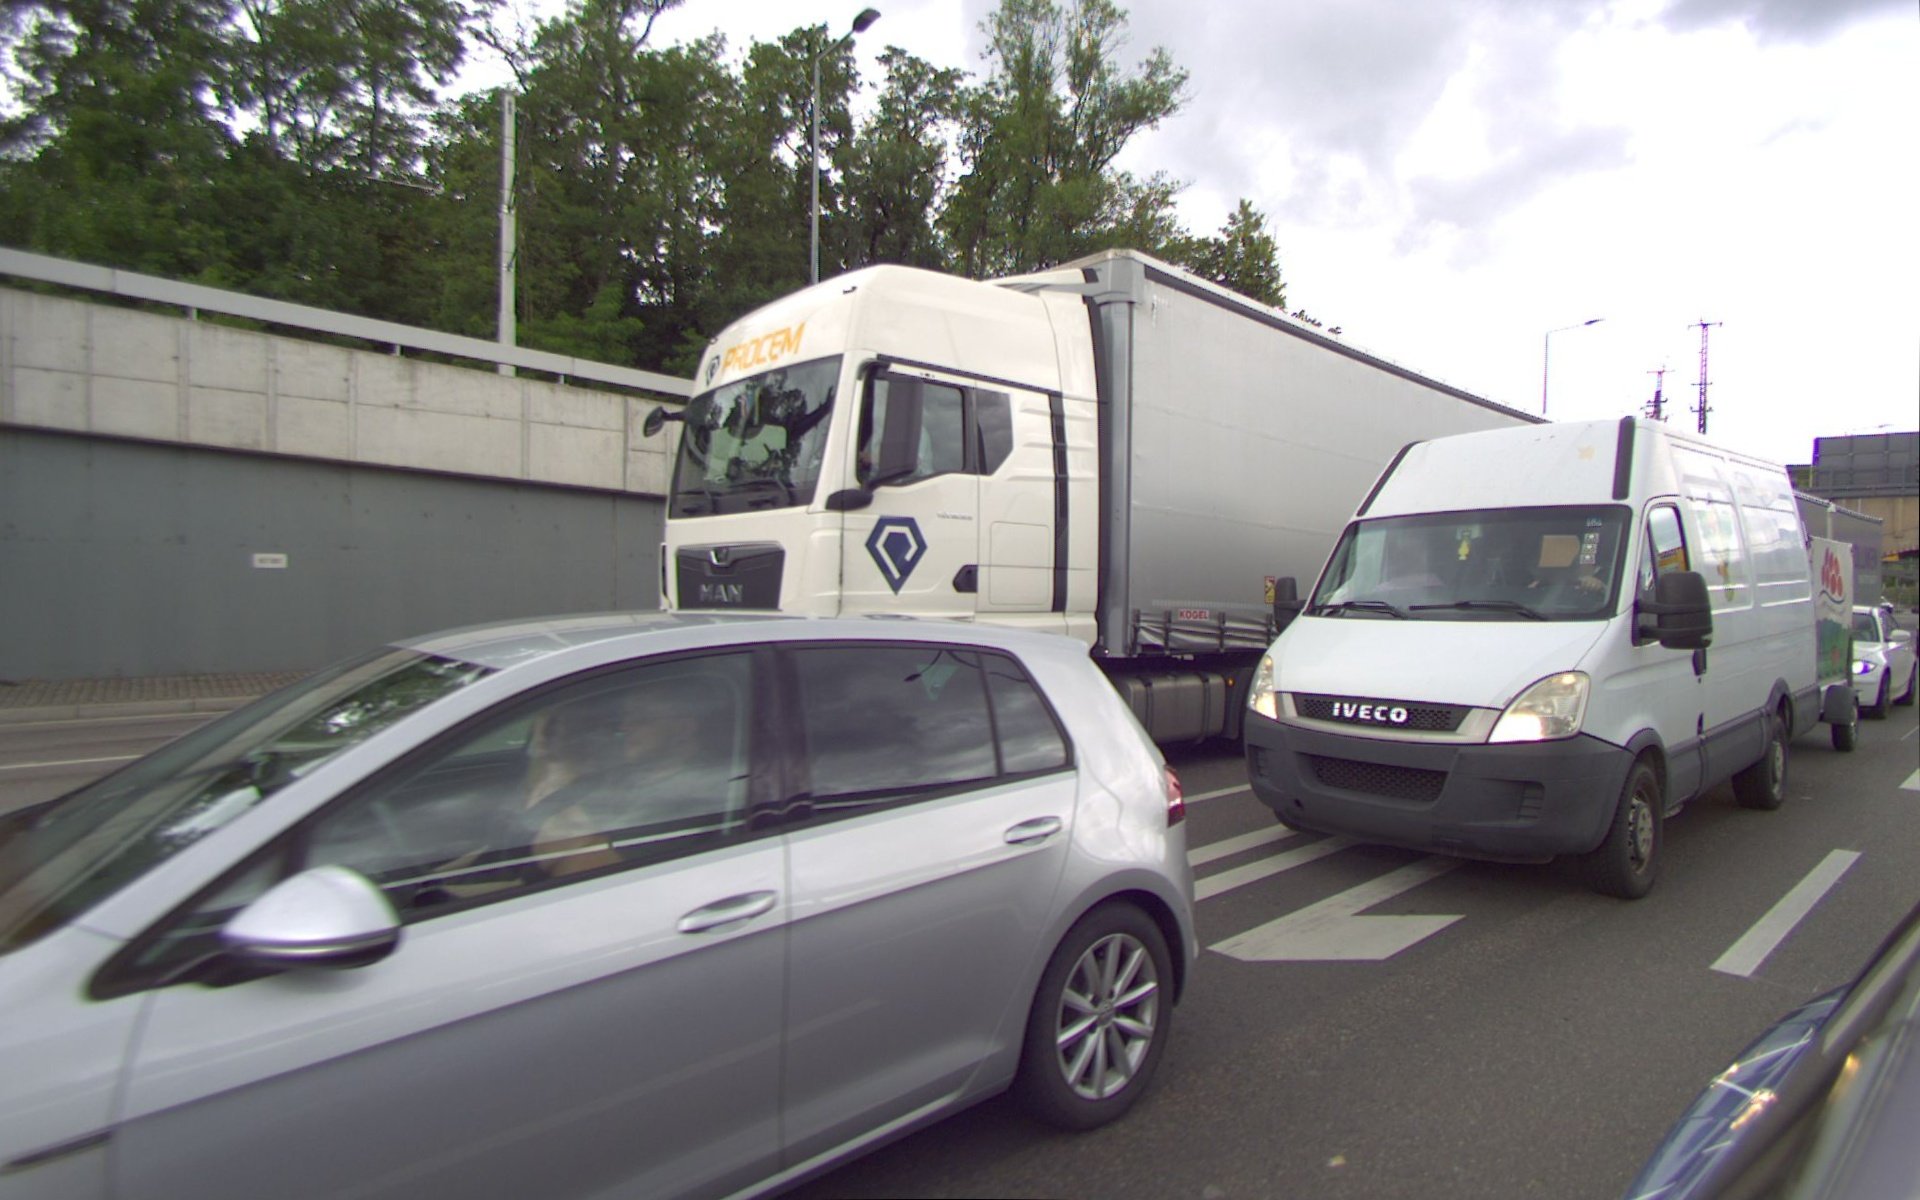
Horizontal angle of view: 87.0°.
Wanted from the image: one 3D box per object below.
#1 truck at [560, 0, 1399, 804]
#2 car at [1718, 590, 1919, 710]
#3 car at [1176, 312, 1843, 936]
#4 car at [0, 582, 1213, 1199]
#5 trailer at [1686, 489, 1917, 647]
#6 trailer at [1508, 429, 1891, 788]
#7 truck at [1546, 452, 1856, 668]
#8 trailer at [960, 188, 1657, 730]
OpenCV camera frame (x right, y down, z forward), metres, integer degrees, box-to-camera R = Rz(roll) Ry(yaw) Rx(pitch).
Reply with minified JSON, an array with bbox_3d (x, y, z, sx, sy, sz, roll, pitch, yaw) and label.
[{"bbox_3d":[0.576,-1.217,9.602,7.313,4.690,3.811,0,0,-41],"label":"truck"},{"bbox_3d":[12.321,0.583,14.180,4.269,1.415,1.720,0,1,-39],"label":"car"},{"bbox_3d":[4.176,0.075,7.026,5.839,2.662,2.060,-1,-2,-41],"label":"car"},{"bbox_3d":[-1.255,0.688,2.526,3.970,1.400,1.766,-2,2,-42],"label":"car"},{"bbox_3d":[26.592,-0.893,31.688,10.789,4.194,3.731,-1,0,-40],"label":"trailer"},{"bbox_3d":[7.394,0.035,9.911,4.727,2.672,2.106,0,1,-42],"label":"trailer"},{"bbox_3d":[18.387,-0.824,24.679,10.790,4.194,3.731,-1,0,-41],"label":"truck"},{"bbox_3d":[5.721,-1.264,14.142,11.903,4.690,3.811,0,0,-41],"label":"trailer"}]
